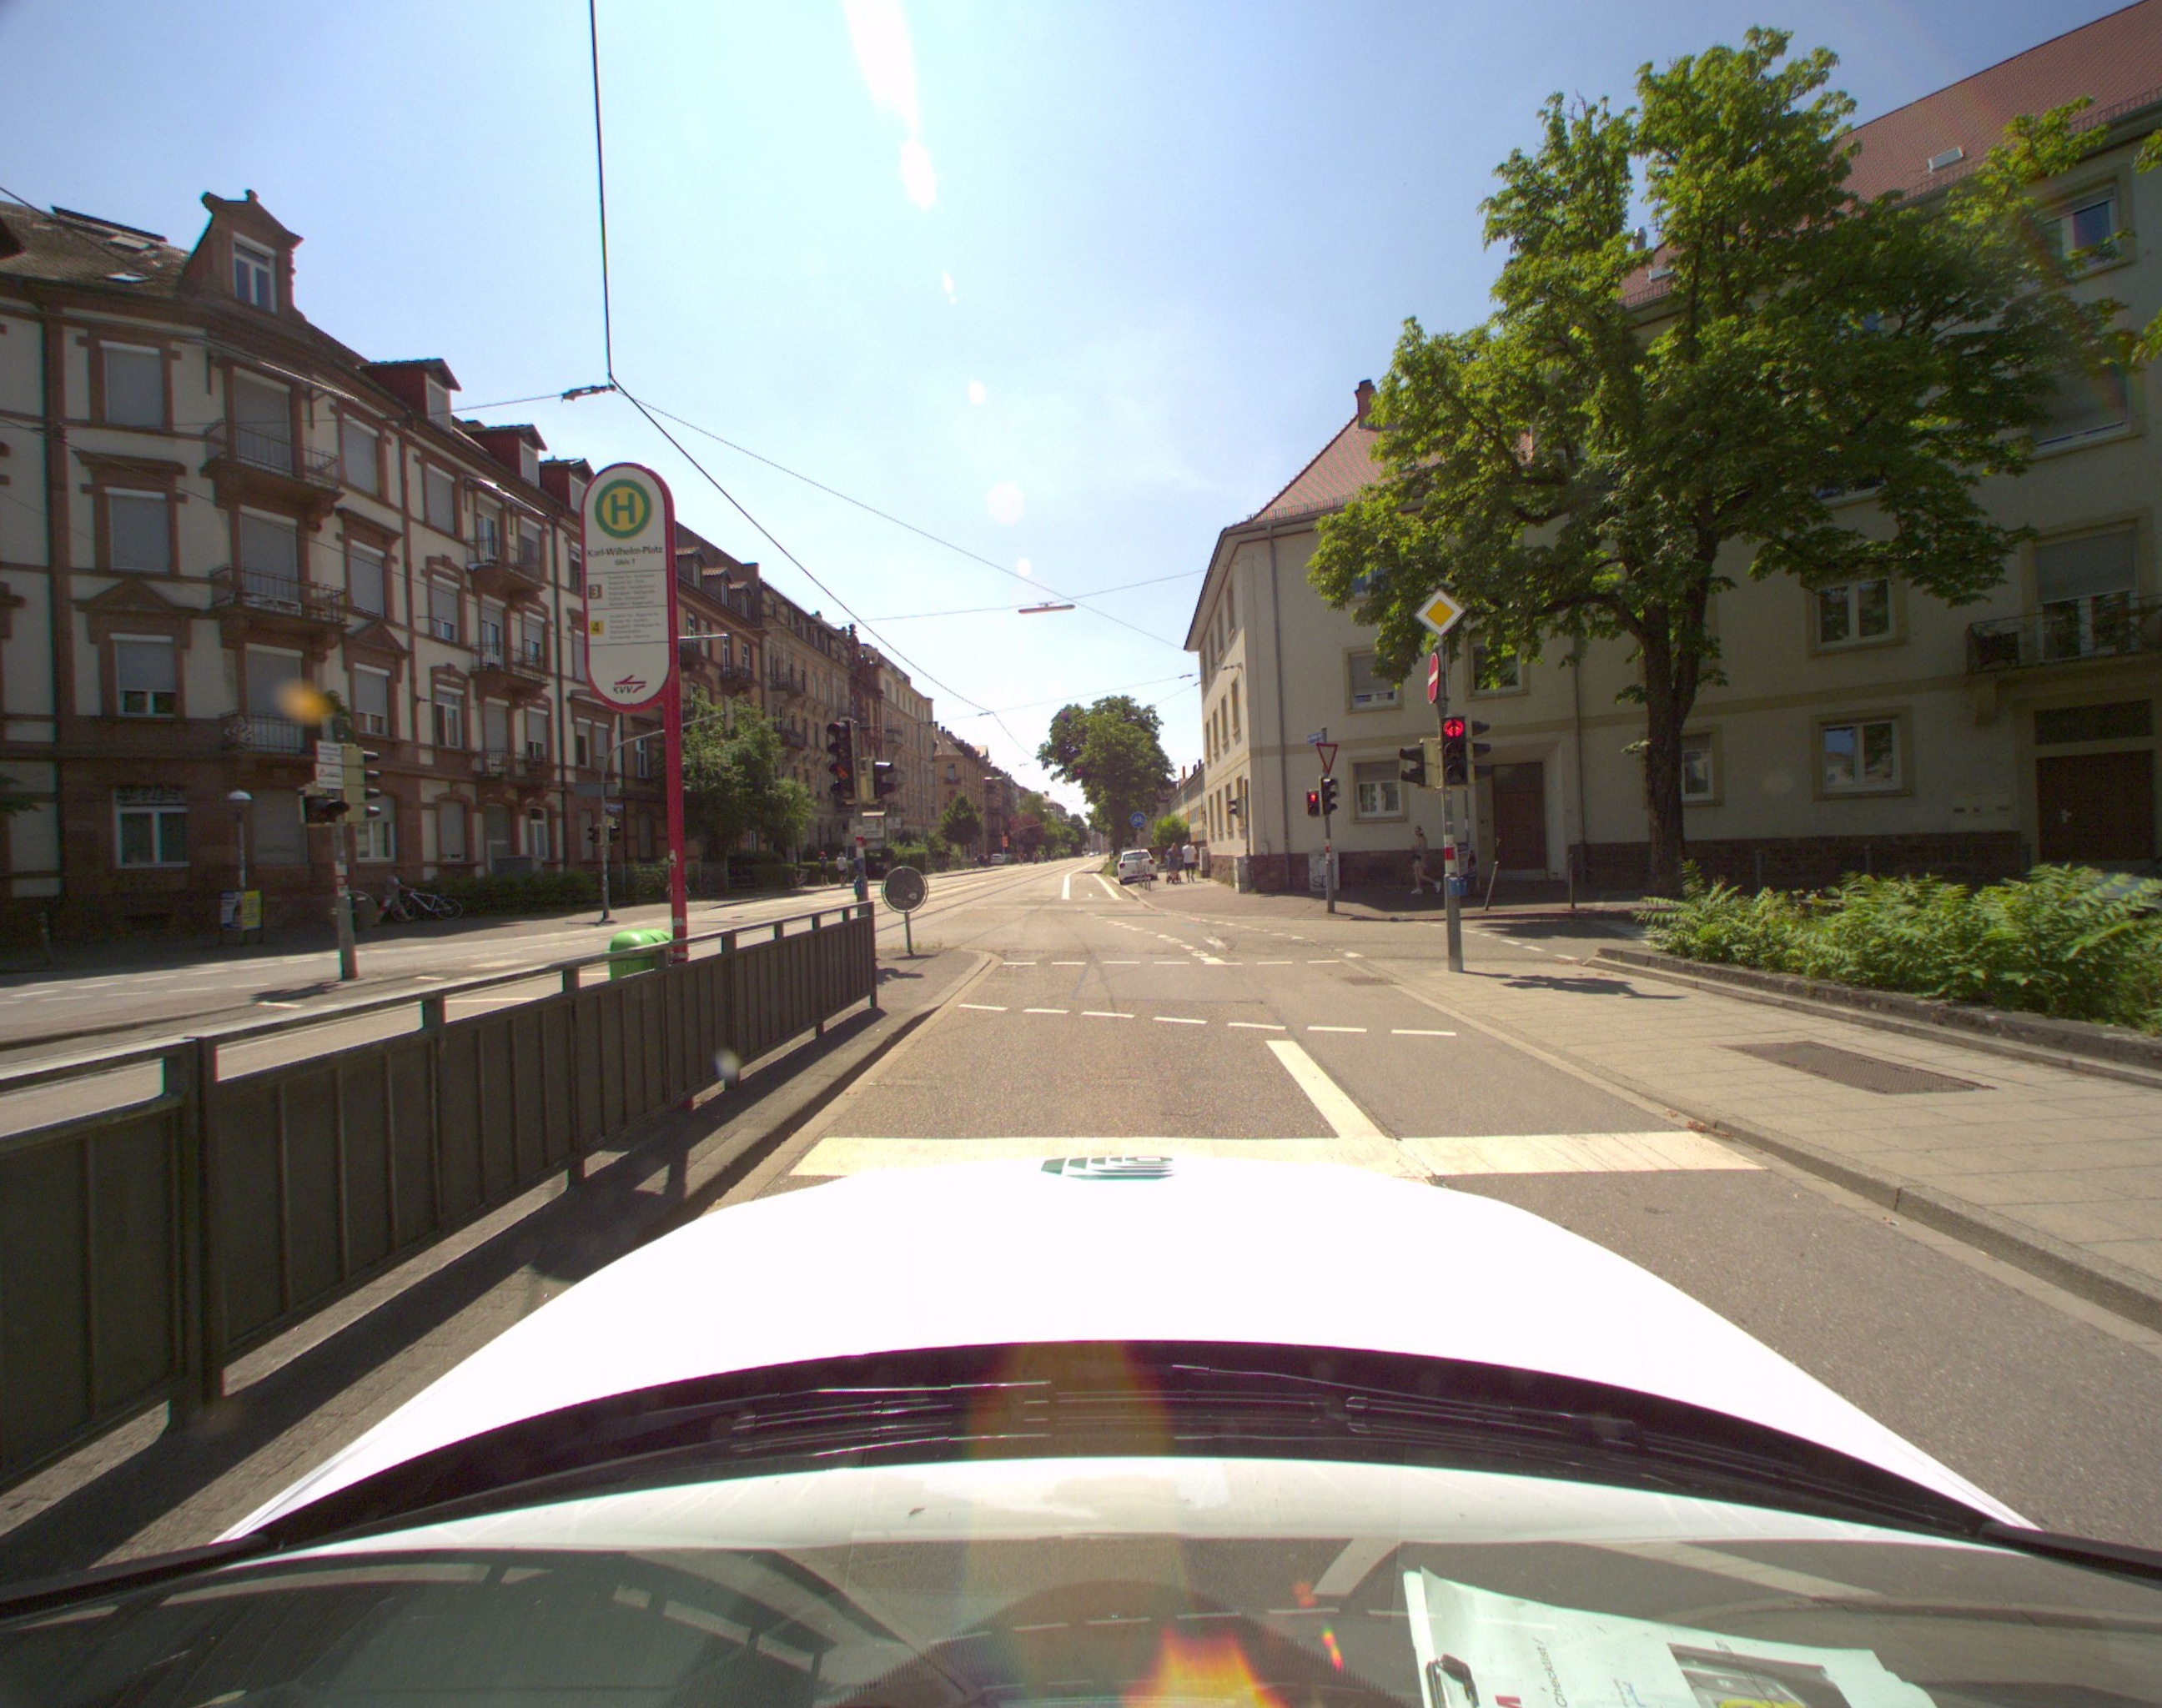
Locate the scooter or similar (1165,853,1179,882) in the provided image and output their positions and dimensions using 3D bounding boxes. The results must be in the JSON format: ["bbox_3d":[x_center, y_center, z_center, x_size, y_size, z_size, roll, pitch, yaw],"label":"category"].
[{"bbox_3d":[3.715,0.538,33.202,0.554,1.155,1.207,0,-1,5],"label":"scooter or similar"}]

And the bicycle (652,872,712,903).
[{"bbox_3d":[-15.666,1.299,32.086,0.934,1.136,2.774,0,-1,1],"label":"bicycle"}]

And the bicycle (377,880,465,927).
[{"bbox_3d":[-19.551,1.436,24.164,0.557,1.294,1.975,-1,-1,43],"label":"bicycle"}]

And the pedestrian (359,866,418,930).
[{"bbox_3d":[-19.274,1.199,22.671,0.713,1.689,1.069,-2,0,35],"label":"pedestrian"}]

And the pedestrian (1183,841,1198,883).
[{"bbox_3d":[4.369,0.313,32.469,0.554,1.645,0.678,0,-1,5],"label":"pedestrian"}]

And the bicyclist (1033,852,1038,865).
[{"bbox_3d":[-6.662,0.655,119.195,0.724,1.768,1.080,0,-1,3],"label":"bicyclist"}]

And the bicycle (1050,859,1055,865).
[{"bbox_3d":[-4.988,1.423,142.097,0.724,1.123,2.087,0,-1,4],"label":"bicycle"}]

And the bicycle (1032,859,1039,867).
[{"bbox_3d":[-6.670,1.265,119.191,0.724,1.123,2.087,0,-1,4],"label":"bicycle"}]

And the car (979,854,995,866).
[{"bbox_3d":[-14.323,0.899,124.471,1.912,1.715,4.001,0,-1,2],"label":"car"}]

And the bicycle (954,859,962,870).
[{"bbox_3d":[-12.147,1.031,80.503,0.677,1.064,1.912,-2,0,-9],"label":"bicycle"}]

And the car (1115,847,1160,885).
[{"bbox_3d":[2.529,0.531,37.407,1.808,1.516,4.001,-4,-1,2],"label":"car"}]

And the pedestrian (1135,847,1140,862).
[{"bbox_3d":[6.022,0.037,86.624,0.519,1.562,0.573,-2,0,1],"label":"pedestrian"}]

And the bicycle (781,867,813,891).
[{"bbox_3d":[-14.380,1.254,41.261,0.936,1.136,2.767,0,-1,-7],"label":"bicycle"}]

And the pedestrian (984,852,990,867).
[{"bbox_3d":[-10.657,0.631,92.181,0.519,1.659,0.529,-2,0,1],"label":"pedestrian"}]

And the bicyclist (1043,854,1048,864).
[{"bbox_3d":[-6.256,0.829,142.311,0.724,1.818,1.080,0,-1,3],"label":"bicyclist"}]

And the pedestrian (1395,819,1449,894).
[{"bbox_3d":[8.391,0.057,20.031,1.044,1.690,0.657,-6,3,23],"label":"pedestrian"}]

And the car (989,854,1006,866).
[{"bbox_3d":[-11.871,0.813,116.069,1.912,1.715,4.001,0,-1,2],"label":"car"}]

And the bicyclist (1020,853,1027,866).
[{"bbox_3d":[-7.507,0.687,106.112,0.724,1.629,1.080,0,-1,3],"label":"bicyclist"}]

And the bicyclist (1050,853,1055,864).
[{"bbox_3d":[-4.996,0.819,142.194,0.724,1.818,1.080,0,-1,3],"label":"bicyclist"}]

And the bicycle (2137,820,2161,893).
[{"bbox_3d":[17.013,0.021,12.086,0.527,1.104,1.589,-2,0,-34],"label":"bicycle"}]

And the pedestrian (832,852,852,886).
[{"bbox_3d":[-12.985,0.801,44.280,0.814,1.822,0.873,0,1,-2],"label":"pedestrian"}]

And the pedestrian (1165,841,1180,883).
[{"bbox_3d":[3.611,0.316,32.264,0.554,1.645,0.678,0,-1,5],"label":"pedestrian"}]

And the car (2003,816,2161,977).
[{"bbox_3d":[11.348,0.373,7.607,1.715,1.506,3.608,-2,1,-41],"label":"car"}]

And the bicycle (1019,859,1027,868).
[{"bbox_3d":[-7.511,1.214,106.100,0.724,1.123,2.087,0,-1,4],"label":"bicycle"}]

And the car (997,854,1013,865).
[{"bbox_3d":[-11.651,0.878,124.333,1.912,1.715,4.001,0,-1,2],"label":"car"}]

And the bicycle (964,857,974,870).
[{"bbox_3d":[-11.702,0.958,85.140,0.675,1.278,1.918,-2,0,-1],"label":"bicycle"}]

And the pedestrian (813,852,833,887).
[{"bbox_3d":[-13.929,0.817,43.996,0.814,1.822,0.873,0,1,-2],"label":"pedestrian"}]
